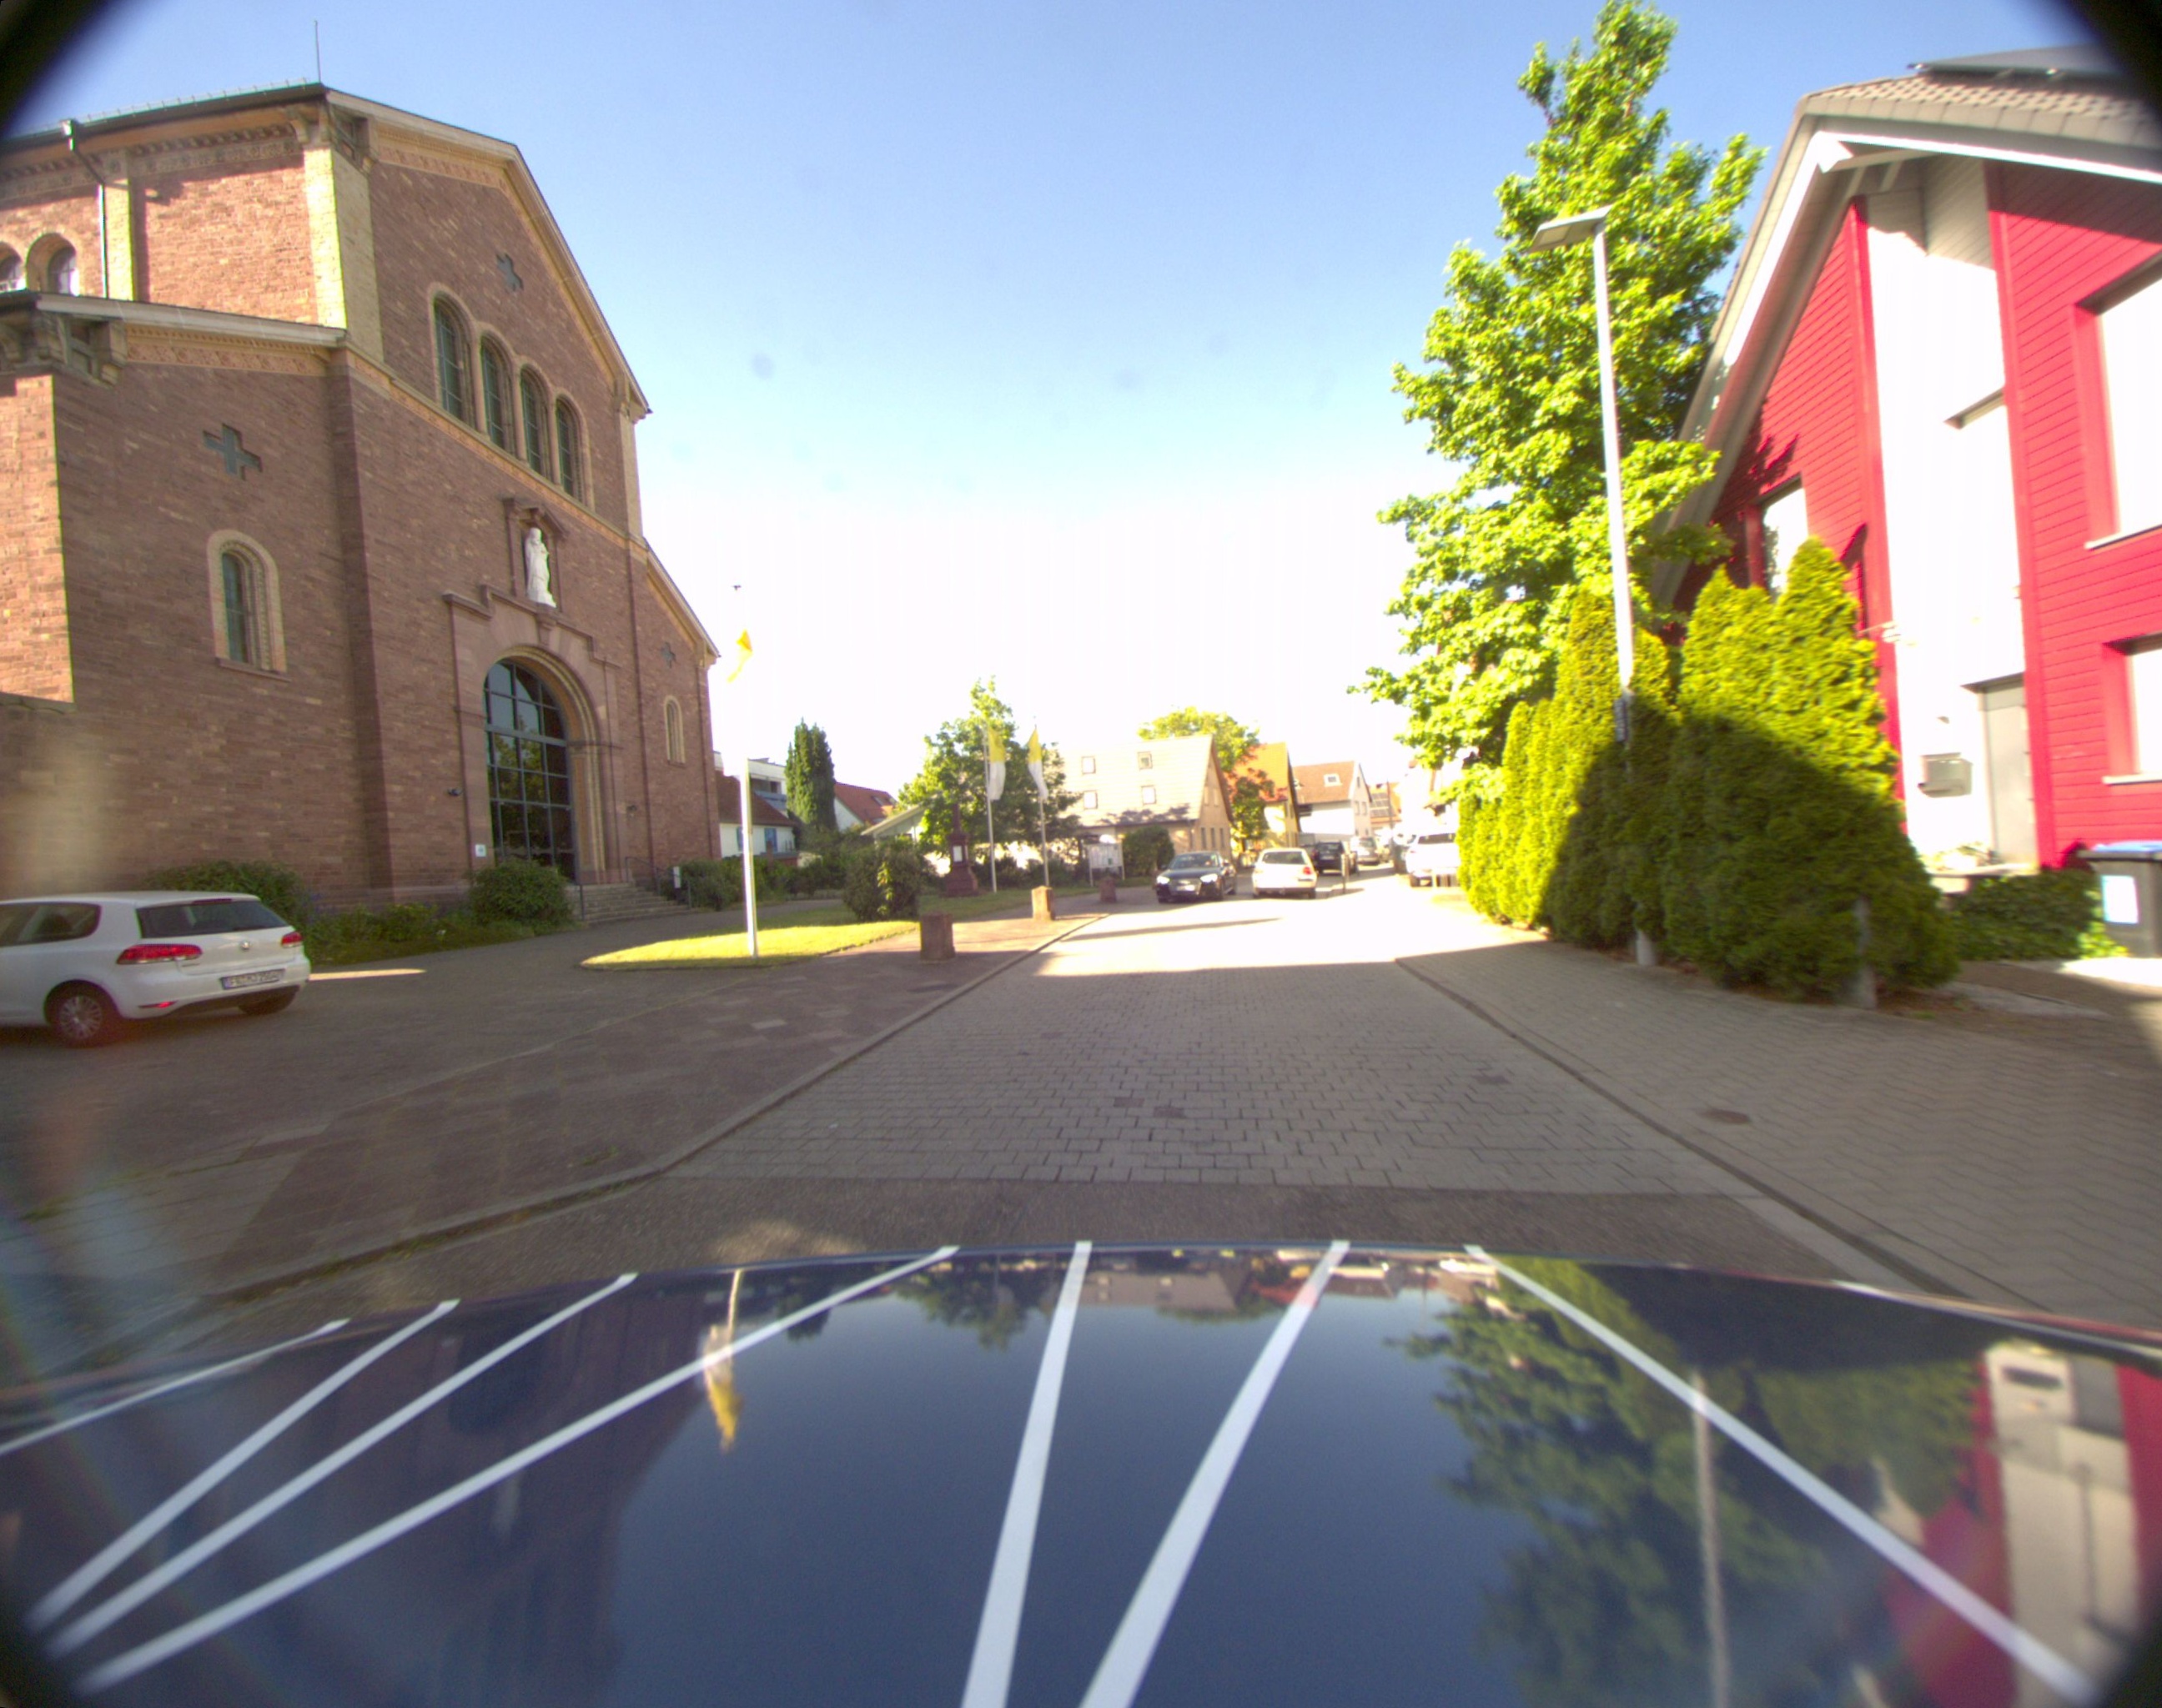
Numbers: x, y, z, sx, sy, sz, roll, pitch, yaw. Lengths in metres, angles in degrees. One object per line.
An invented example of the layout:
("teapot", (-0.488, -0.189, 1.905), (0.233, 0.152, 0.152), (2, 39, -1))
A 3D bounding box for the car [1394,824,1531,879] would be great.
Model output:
("car", (13.927, -0.071, 27.996), (3.994, 1.579, 2.002), (-5, -1, 11))

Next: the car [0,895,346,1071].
("car", (-10.757, 1.289, 8.136), (3.907, 1.488, 1.904), (-1, 2, 2))

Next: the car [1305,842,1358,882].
("car", (11.967, 0.344, 36.139), (1.834, 1.661, 4.359), (-3, 0, 25))

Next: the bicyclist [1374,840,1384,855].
("bicyclist", (25.407, -0.553, 64.793), (0.581, 1.313, 0.609), (-2, 1, 33))

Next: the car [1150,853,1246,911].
("car", (3.543, 0.739, 22.336), (1.804, 1.469, 4.350), (0, 1, 22))

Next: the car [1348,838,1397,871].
("car", (17.589, 0.001, 45.757), (1.834, 1.779, 4.360), (-5, -1, 32))

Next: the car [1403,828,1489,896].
("car", (10.369, 0.164, 21.405), (1.819, 1.586, 4.452), (-5, 0, 29))

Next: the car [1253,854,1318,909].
("car", (6.023, 0.735, 22.369), (1.673, 1.394, 3.896), (0, 1, 15))
